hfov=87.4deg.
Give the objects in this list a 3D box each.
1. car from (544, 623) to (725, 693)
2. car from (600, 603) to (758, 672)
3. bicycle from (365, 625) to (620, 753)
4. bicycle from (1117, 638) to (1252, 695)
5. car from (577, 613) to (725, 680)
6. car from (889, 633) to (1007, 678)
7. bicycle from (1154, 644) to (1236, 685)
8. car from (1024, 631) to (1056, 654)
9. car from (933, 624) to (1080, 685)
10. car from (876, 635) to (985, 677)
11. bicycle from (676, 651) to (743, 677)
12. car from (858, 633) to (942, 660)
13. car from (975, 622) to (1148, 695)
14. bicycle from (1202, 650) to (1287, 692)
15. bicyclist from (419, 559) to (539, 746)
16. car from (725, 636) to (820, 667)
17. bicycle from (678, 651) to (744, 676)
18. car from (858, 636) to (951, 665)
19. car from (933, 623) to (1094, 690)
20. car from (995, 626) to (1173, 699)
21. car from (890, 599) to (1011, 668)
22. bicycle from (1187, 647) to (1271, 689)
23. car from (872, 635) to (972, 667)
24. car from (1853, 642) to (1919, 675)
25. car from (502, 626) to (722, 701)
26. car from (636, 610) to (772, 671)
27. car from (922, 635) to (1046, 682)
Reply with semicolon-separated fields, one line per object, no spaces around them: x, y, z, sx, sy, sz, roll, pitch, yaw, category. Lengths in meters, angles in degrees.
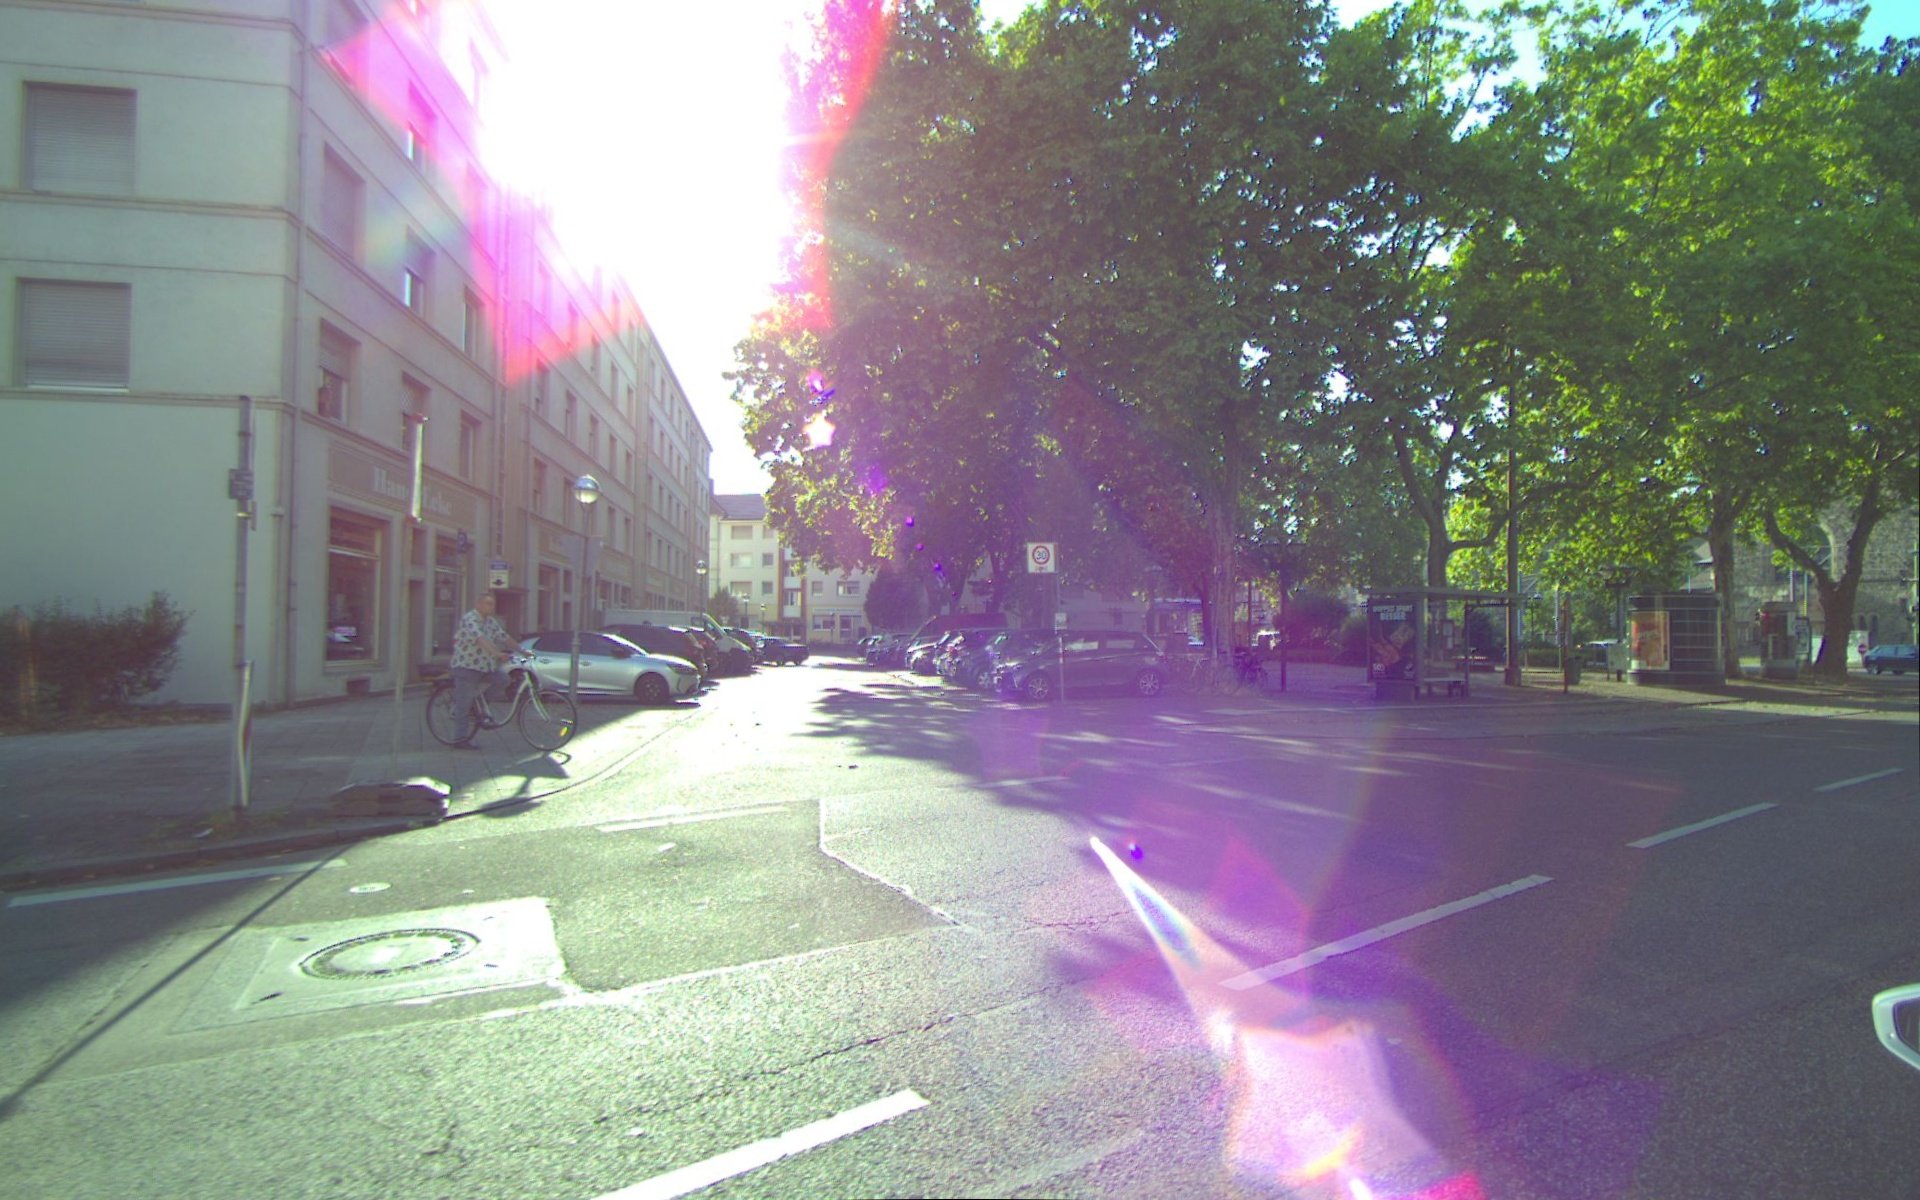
-7.969;1.438;24.923;3.961;1.531;1.654;3;-3;-8;car
-9.719;1.337;35.084;5.081;2.150;1.651;3;-3;-14;car
-5.311;0.982;11.519;2.433;1.281;1.012;2;0;6;bicycle
4.976;1.482;22.135;3.253;1.161;0.715;3;-1;-30;bicycle
-8.976;1.385;29.487;3.967;1.749;1.651;3;-3;-14;car
-0.398;1.896;34.297;3.652;1.353;1.643;3;-1;-28;car
6.575;1.809;28.187;2.171;1.005;0.552;2;0;9;bicycle
6.730;3.573;85.163;1.962;1.714;3.997;2;-1;-5;car
1.387;1.631;29.927;3.947;1.639;1.868;3;-1;-25;car
-1.078;2.057;36.834;3.652;1.353;1.643;3;-1;-28;car
-8.195;2.094;32.918;2.120;0.807;0.586;1;-2;-15;bicycle
-3.563;2.725;59.120;4.706;1.378;1.652;3;-3;-12;car
2.556;1.414;25.341;3.946;1.639;1.868;-1;0;-25;car
7.260;1.818;25.641;2.184;1.005;0.548;3;0;-22;bicycle
-5.556;0.588;11.658;0.781;2.040;0.978;2;0;6;bicyclist
-9.745;2.685;52.088;4.708;1.378;1.651;3;-3;-14;car
-8.285;2.096;33.429;2.120;0.807;0.586;1;-2;-15;bicycle
-2.976;2.690;53.263;4.706;1.378;1.652;3;-3;-12;car
1.463;1.548;27.399;3.947;1.639;1.868;3;-1;-25;car
2.713;1.370;22.382;3.585;1.537;1.752;1;-2;-11;car
-0.470;1.615;47.203;5.462;2.947;1.653;3;-3;-8;car
7.016;1.772;26.172;2.184;1.005;0.548;3;0;-22;bicycle
-1.903;2.521;49.843;4.706;1.378;1.652;3;-3;-12;car
44.882;2.810;47.378;1.624;1.415;3.931;3;-1;-11;car
-7.051;1.310;20.706;3.961;1.353;1.654;3;-3;-8;car
-10.130;1.652;40.010;5.081;2.163;1.651;3;-3;-14;car
0.788;1.876;32.334;3.652;1.353;1.643;3;-1;-28;car
